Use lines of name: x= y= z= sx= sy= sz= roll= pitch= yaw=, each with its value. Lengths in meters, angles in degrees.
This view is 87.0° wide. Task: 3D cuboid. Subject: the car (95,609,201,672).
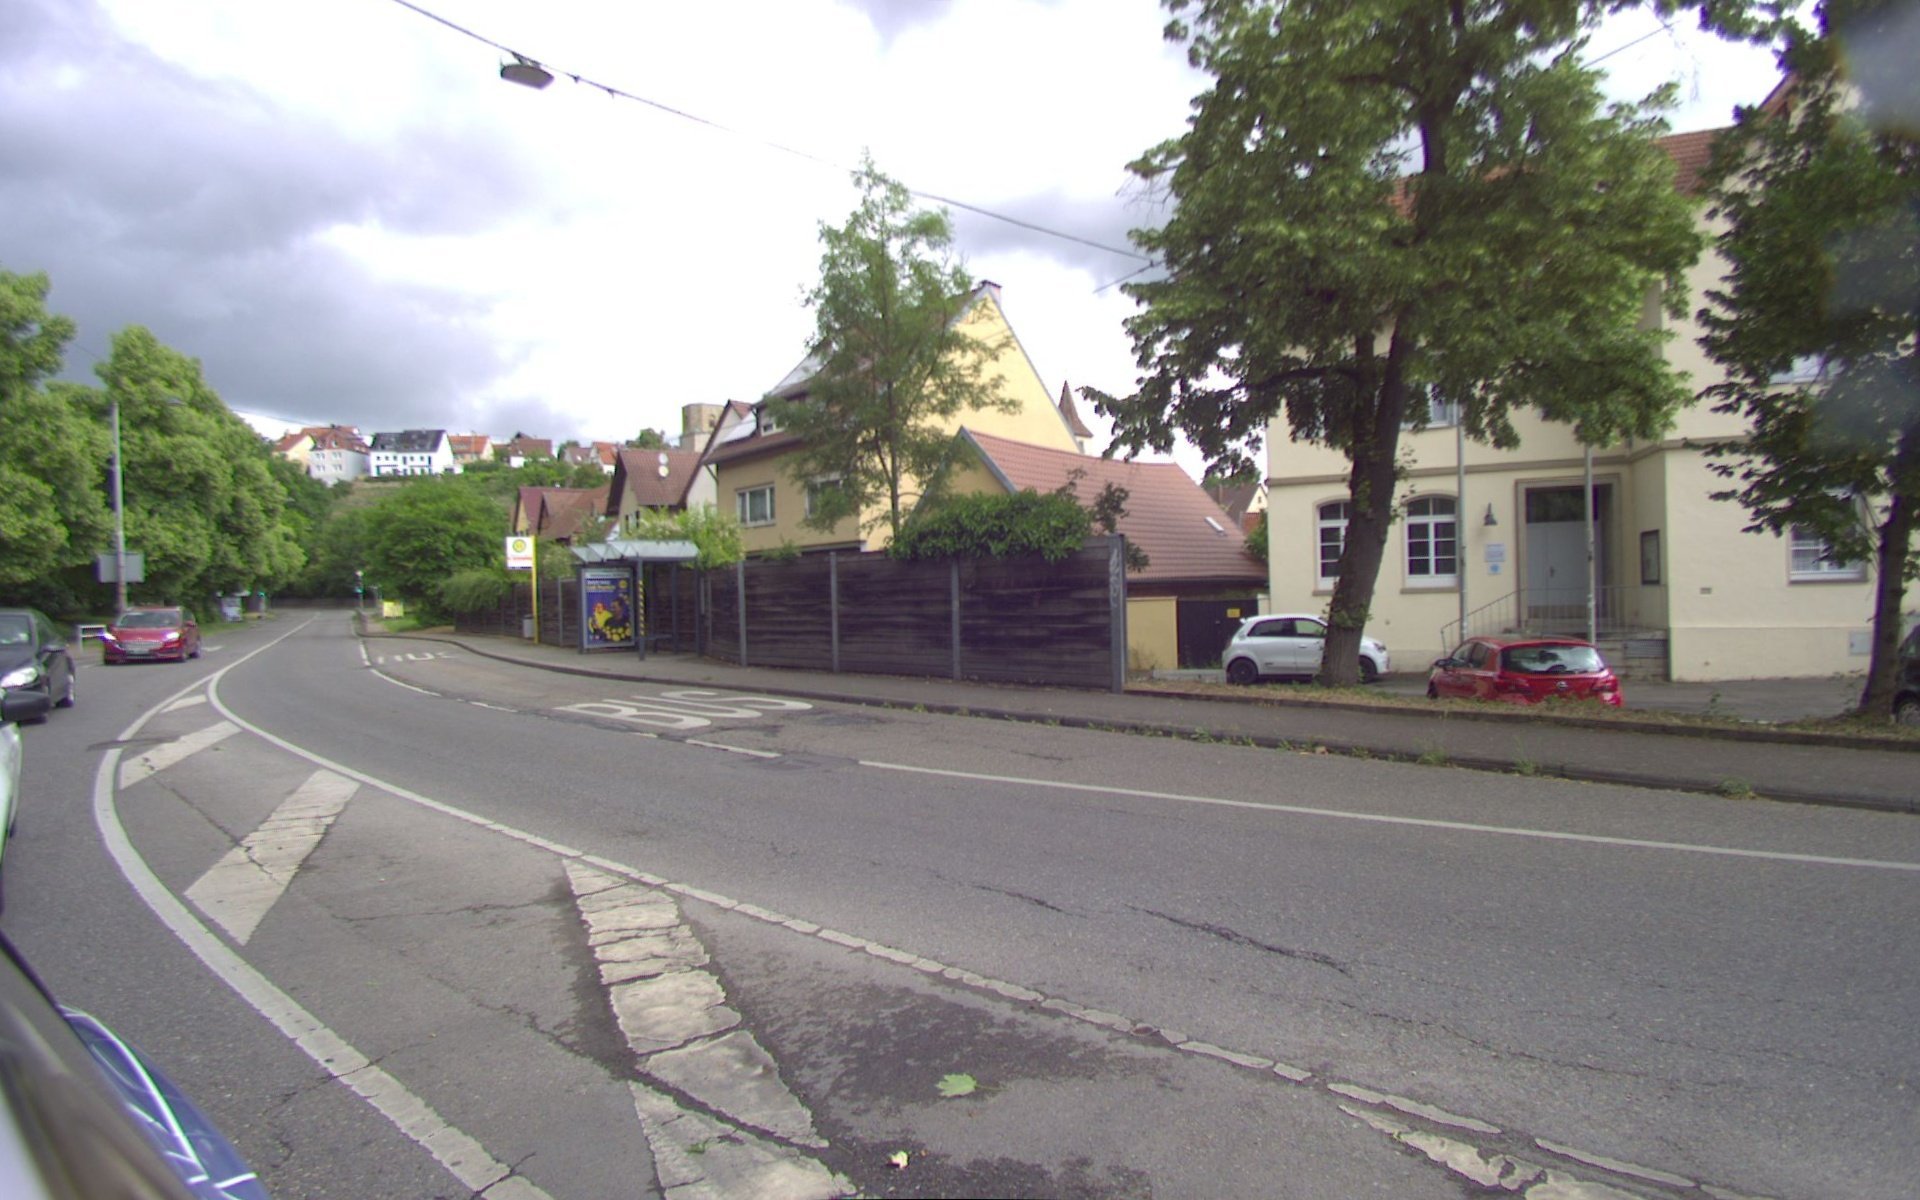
car: x=-24.002 y=1.134 z=30.057 sx=1.798 sy=1.685 sz=4.070 roll=-1 pitch=0 yaw=-29

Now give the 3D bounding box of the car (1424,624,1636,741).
car: x=8.125 y=1.105 z=14.774 sx=1.590 sy=1.389 sz=3.544 roll=-1 pitch=0 yaw=10

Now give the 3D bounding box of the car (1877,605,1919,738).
car: x=12.698 y=0.889 z=11.591 sx=1.586 sy=1.644 sz=3.093 roll=-1 pitch=0 yaw=2

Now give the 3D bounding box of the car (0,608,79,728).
car: x=-13.944 y=0.915 z=14.519 sx=1.698 sy=1.559 sz=3.790 roll=-1 pitch=0 yaw=-37

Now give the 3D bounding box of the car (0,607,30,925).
car: x=-6.033 y=0.818 z=5.281 sx=1.594 sy=1.525 sz=3.610 roll=-1 pitch=0 yaw=-41

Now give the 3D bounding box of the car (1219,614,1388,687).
car: x=7.745 y=1.109 z=22.930 sx=3.487 sy=1.528 sz=1.581 roll=-1 pitch=0 yaw=20
